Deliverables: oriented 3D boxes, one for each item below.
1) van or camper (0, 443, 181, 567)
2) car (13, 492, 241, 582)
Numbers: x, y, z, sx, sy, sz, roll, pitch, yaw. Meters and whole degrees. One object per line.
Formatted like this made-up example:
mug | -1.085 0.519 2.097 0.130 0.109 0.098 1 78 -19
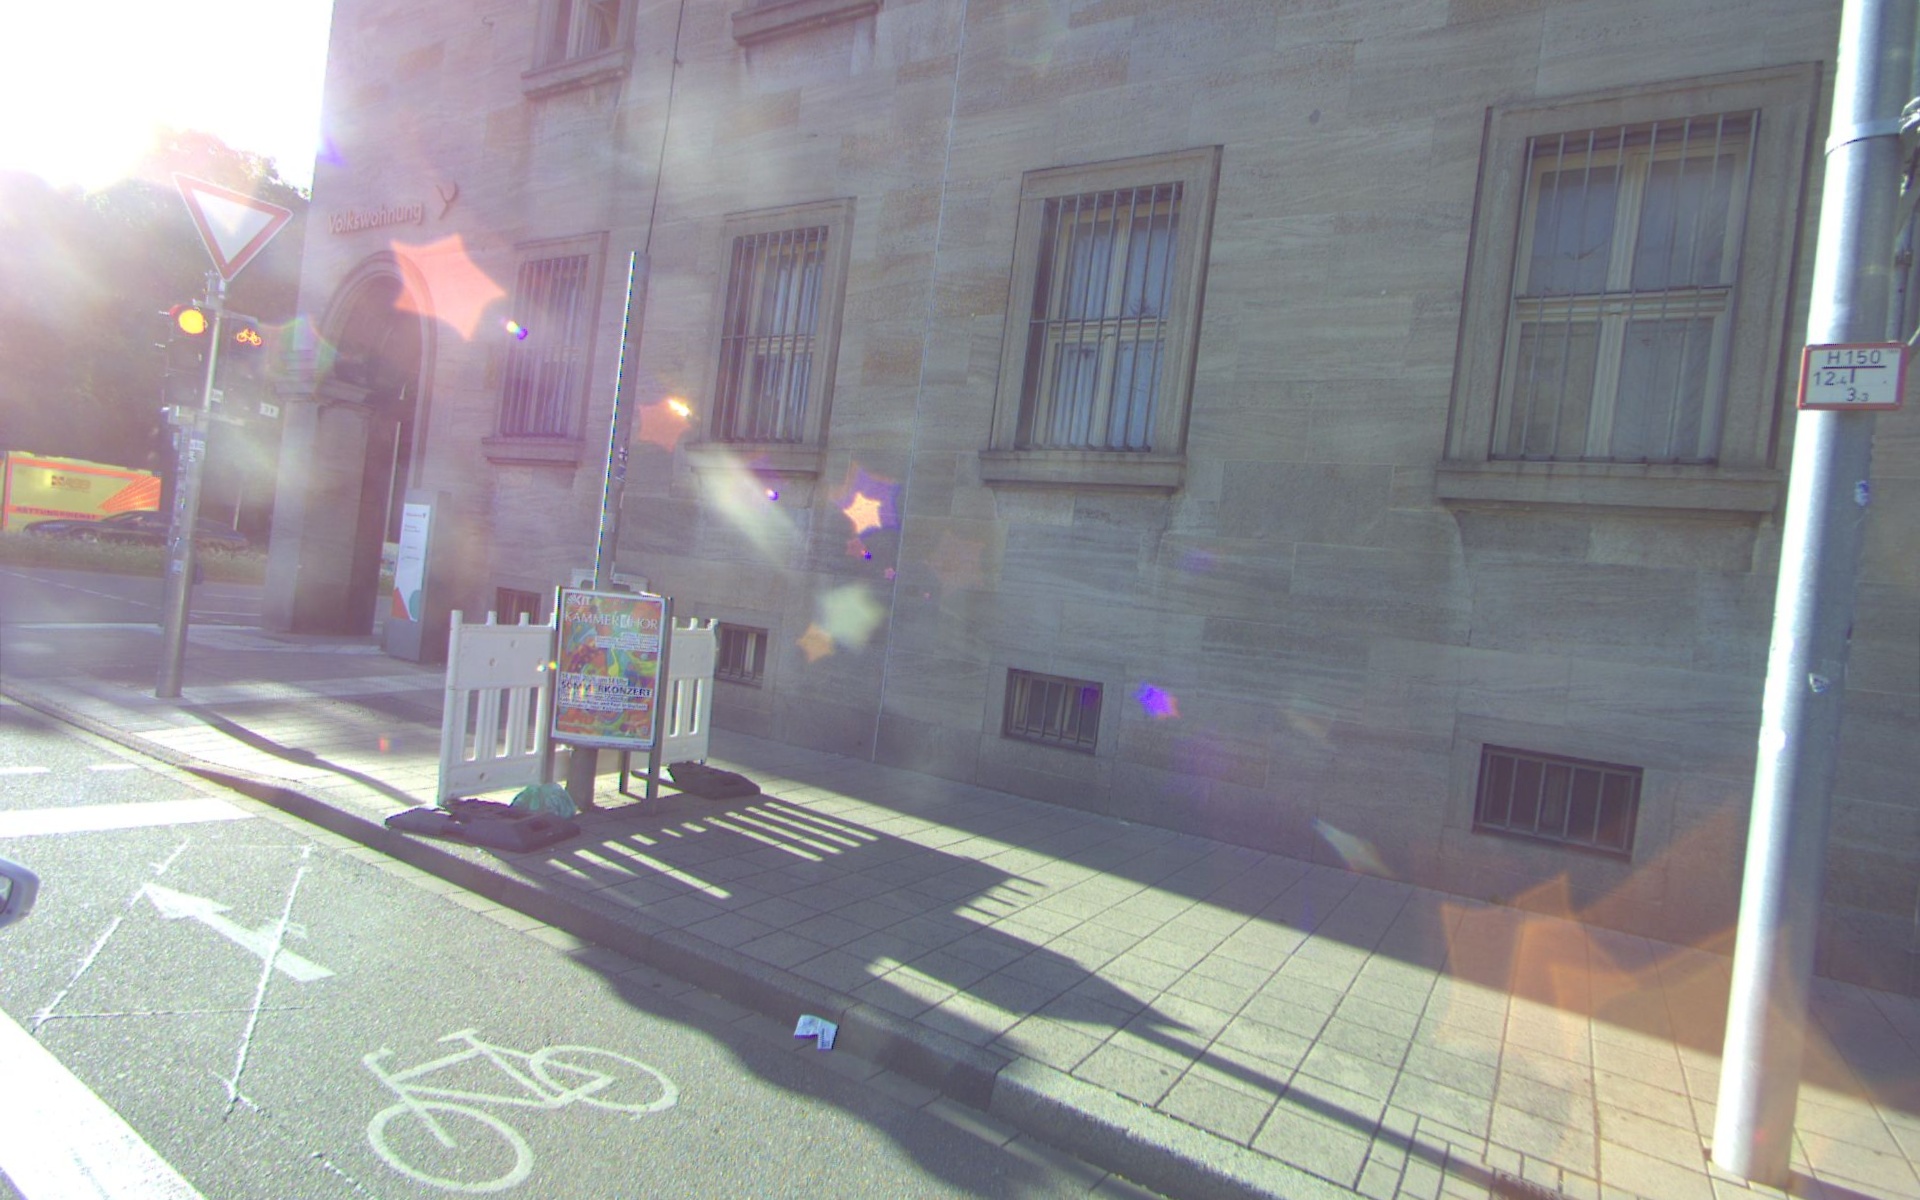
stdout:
van or camper | -27.790 -2.973 29.799 2.866 2.893 6.716 6 -3 36
car | -22.651 -1.675 27.531 1.857 1.665 4.324 6 -3 32
